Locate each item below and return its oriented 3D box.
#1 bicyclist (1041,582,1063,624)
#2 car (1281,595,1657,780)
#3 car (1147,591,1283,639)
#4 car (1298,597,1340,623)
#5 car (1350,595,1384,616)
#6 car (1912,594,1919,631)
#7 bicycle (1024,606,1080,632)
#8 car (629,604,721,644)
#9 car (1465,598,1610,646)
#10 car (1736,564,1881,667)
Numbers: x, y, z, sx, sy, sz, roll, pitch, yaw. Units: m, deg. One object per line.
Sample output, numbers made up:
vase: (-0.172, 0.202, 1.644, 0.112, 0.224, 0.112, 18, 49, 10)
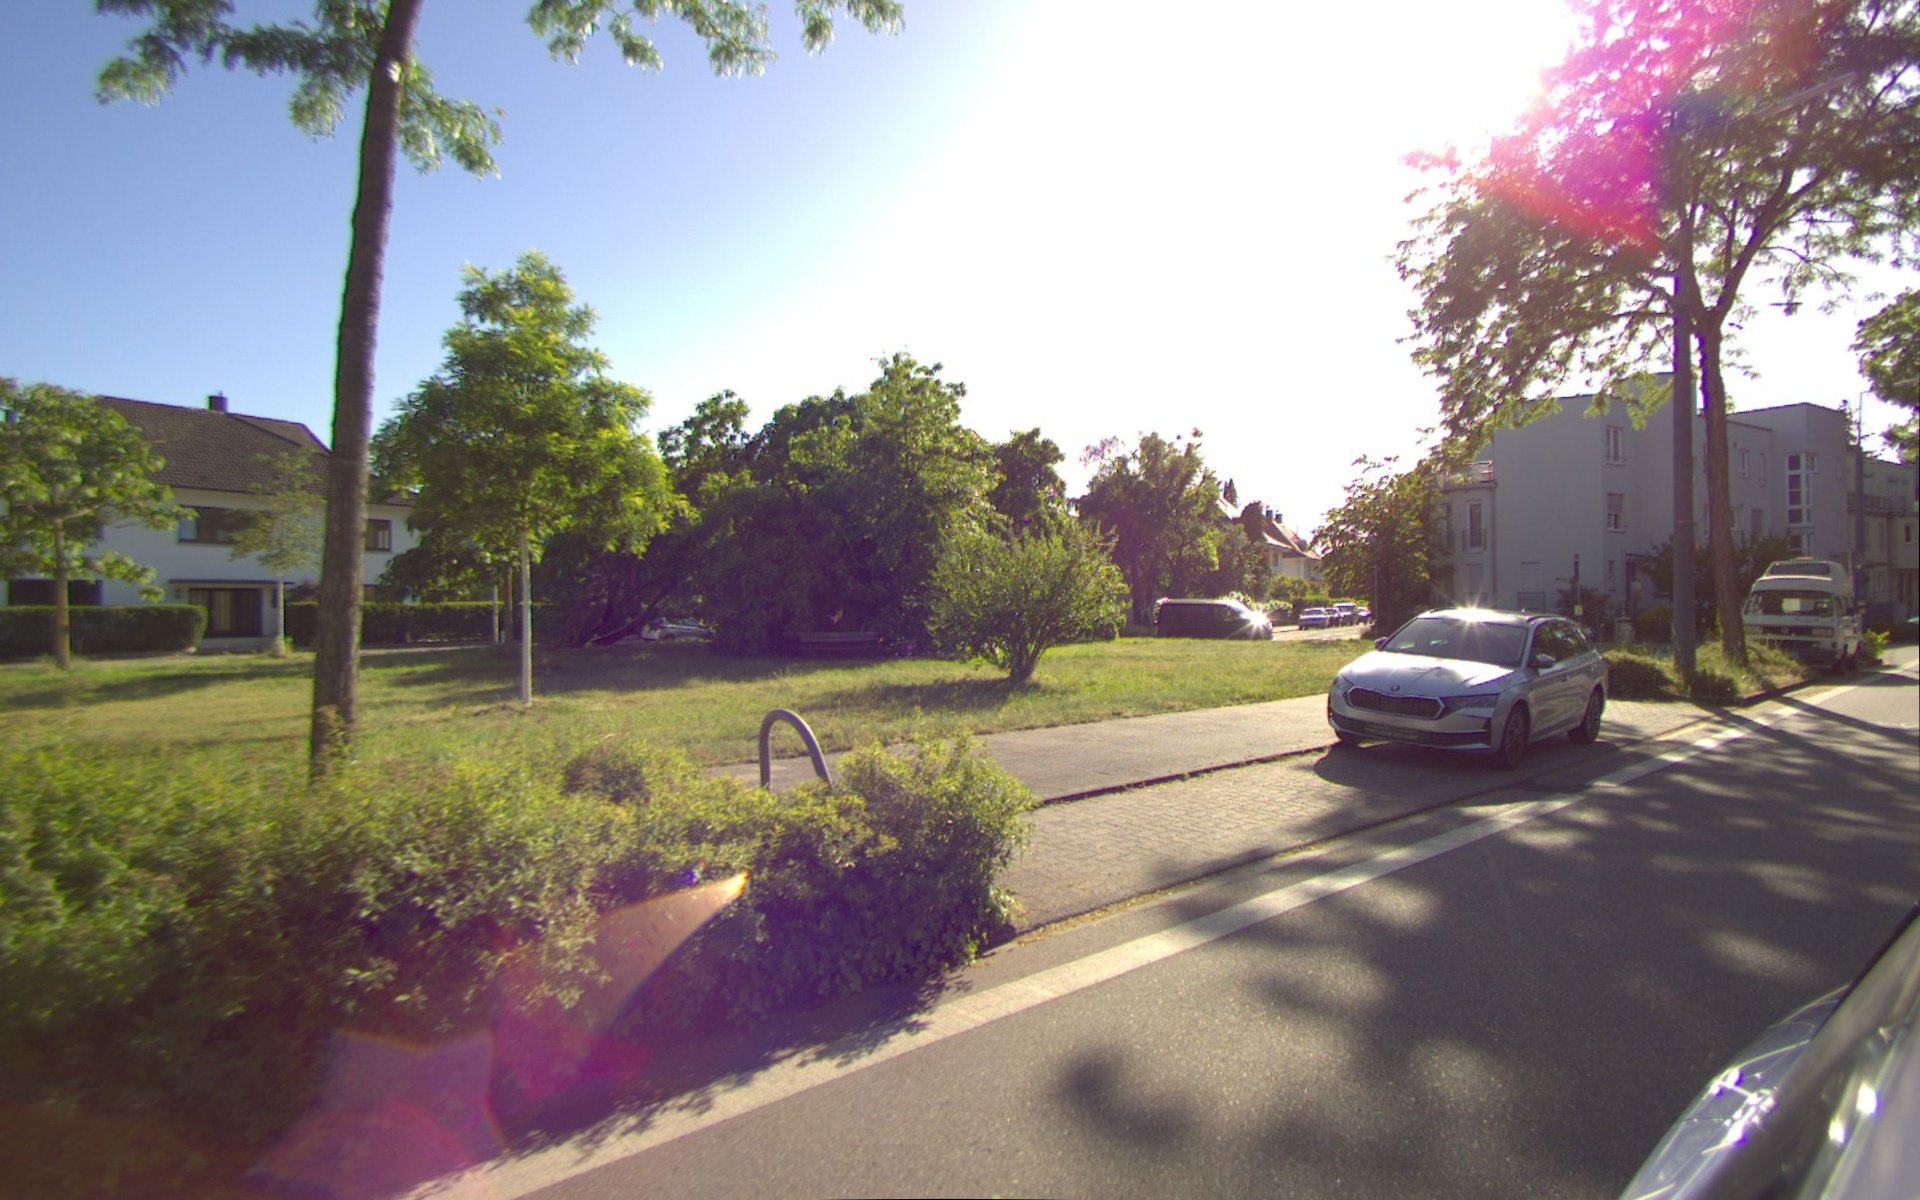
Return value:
bicyclist: (4.494, 0.149, 49.490, 0.842, 2.039, 0.819, -1, -1, 26)
car: (5.925, 0.758, 11.403, 5.341, 1.483, 2.004, -1, 3, -43)
car: (10.727, 0.639, 42.713, 5.171, 1.909, 2.077, -2, -1, 32)
car: (25.039, 0.661, 70.486, 1.983, 1.788, 4.224, 0, 0, 30)
car: (34.532, 0.421, 85.778, 1.985, 1.715, 3.954, -1, 0, 33)
car: (42.266, 0.491, 42.837, 4.441, 1.514, 1.744, -1, -1, -32)
bicycle: (4.474, 0.930, 49.467, 2.636, 1.247, 0.793, 0, -1, 26)
car: (-13.856, 1.127, 49.397, 1.987, 1.819, 3.949, -1, 0, 36)
car: (20.873, 0.763, 36.683, 4.427, 1.508, 1.988, 0, 3, 32)
car: (19.520, 0.314, 23.208, 4.637, 2.122, 1.995, 0, 0, -43)
